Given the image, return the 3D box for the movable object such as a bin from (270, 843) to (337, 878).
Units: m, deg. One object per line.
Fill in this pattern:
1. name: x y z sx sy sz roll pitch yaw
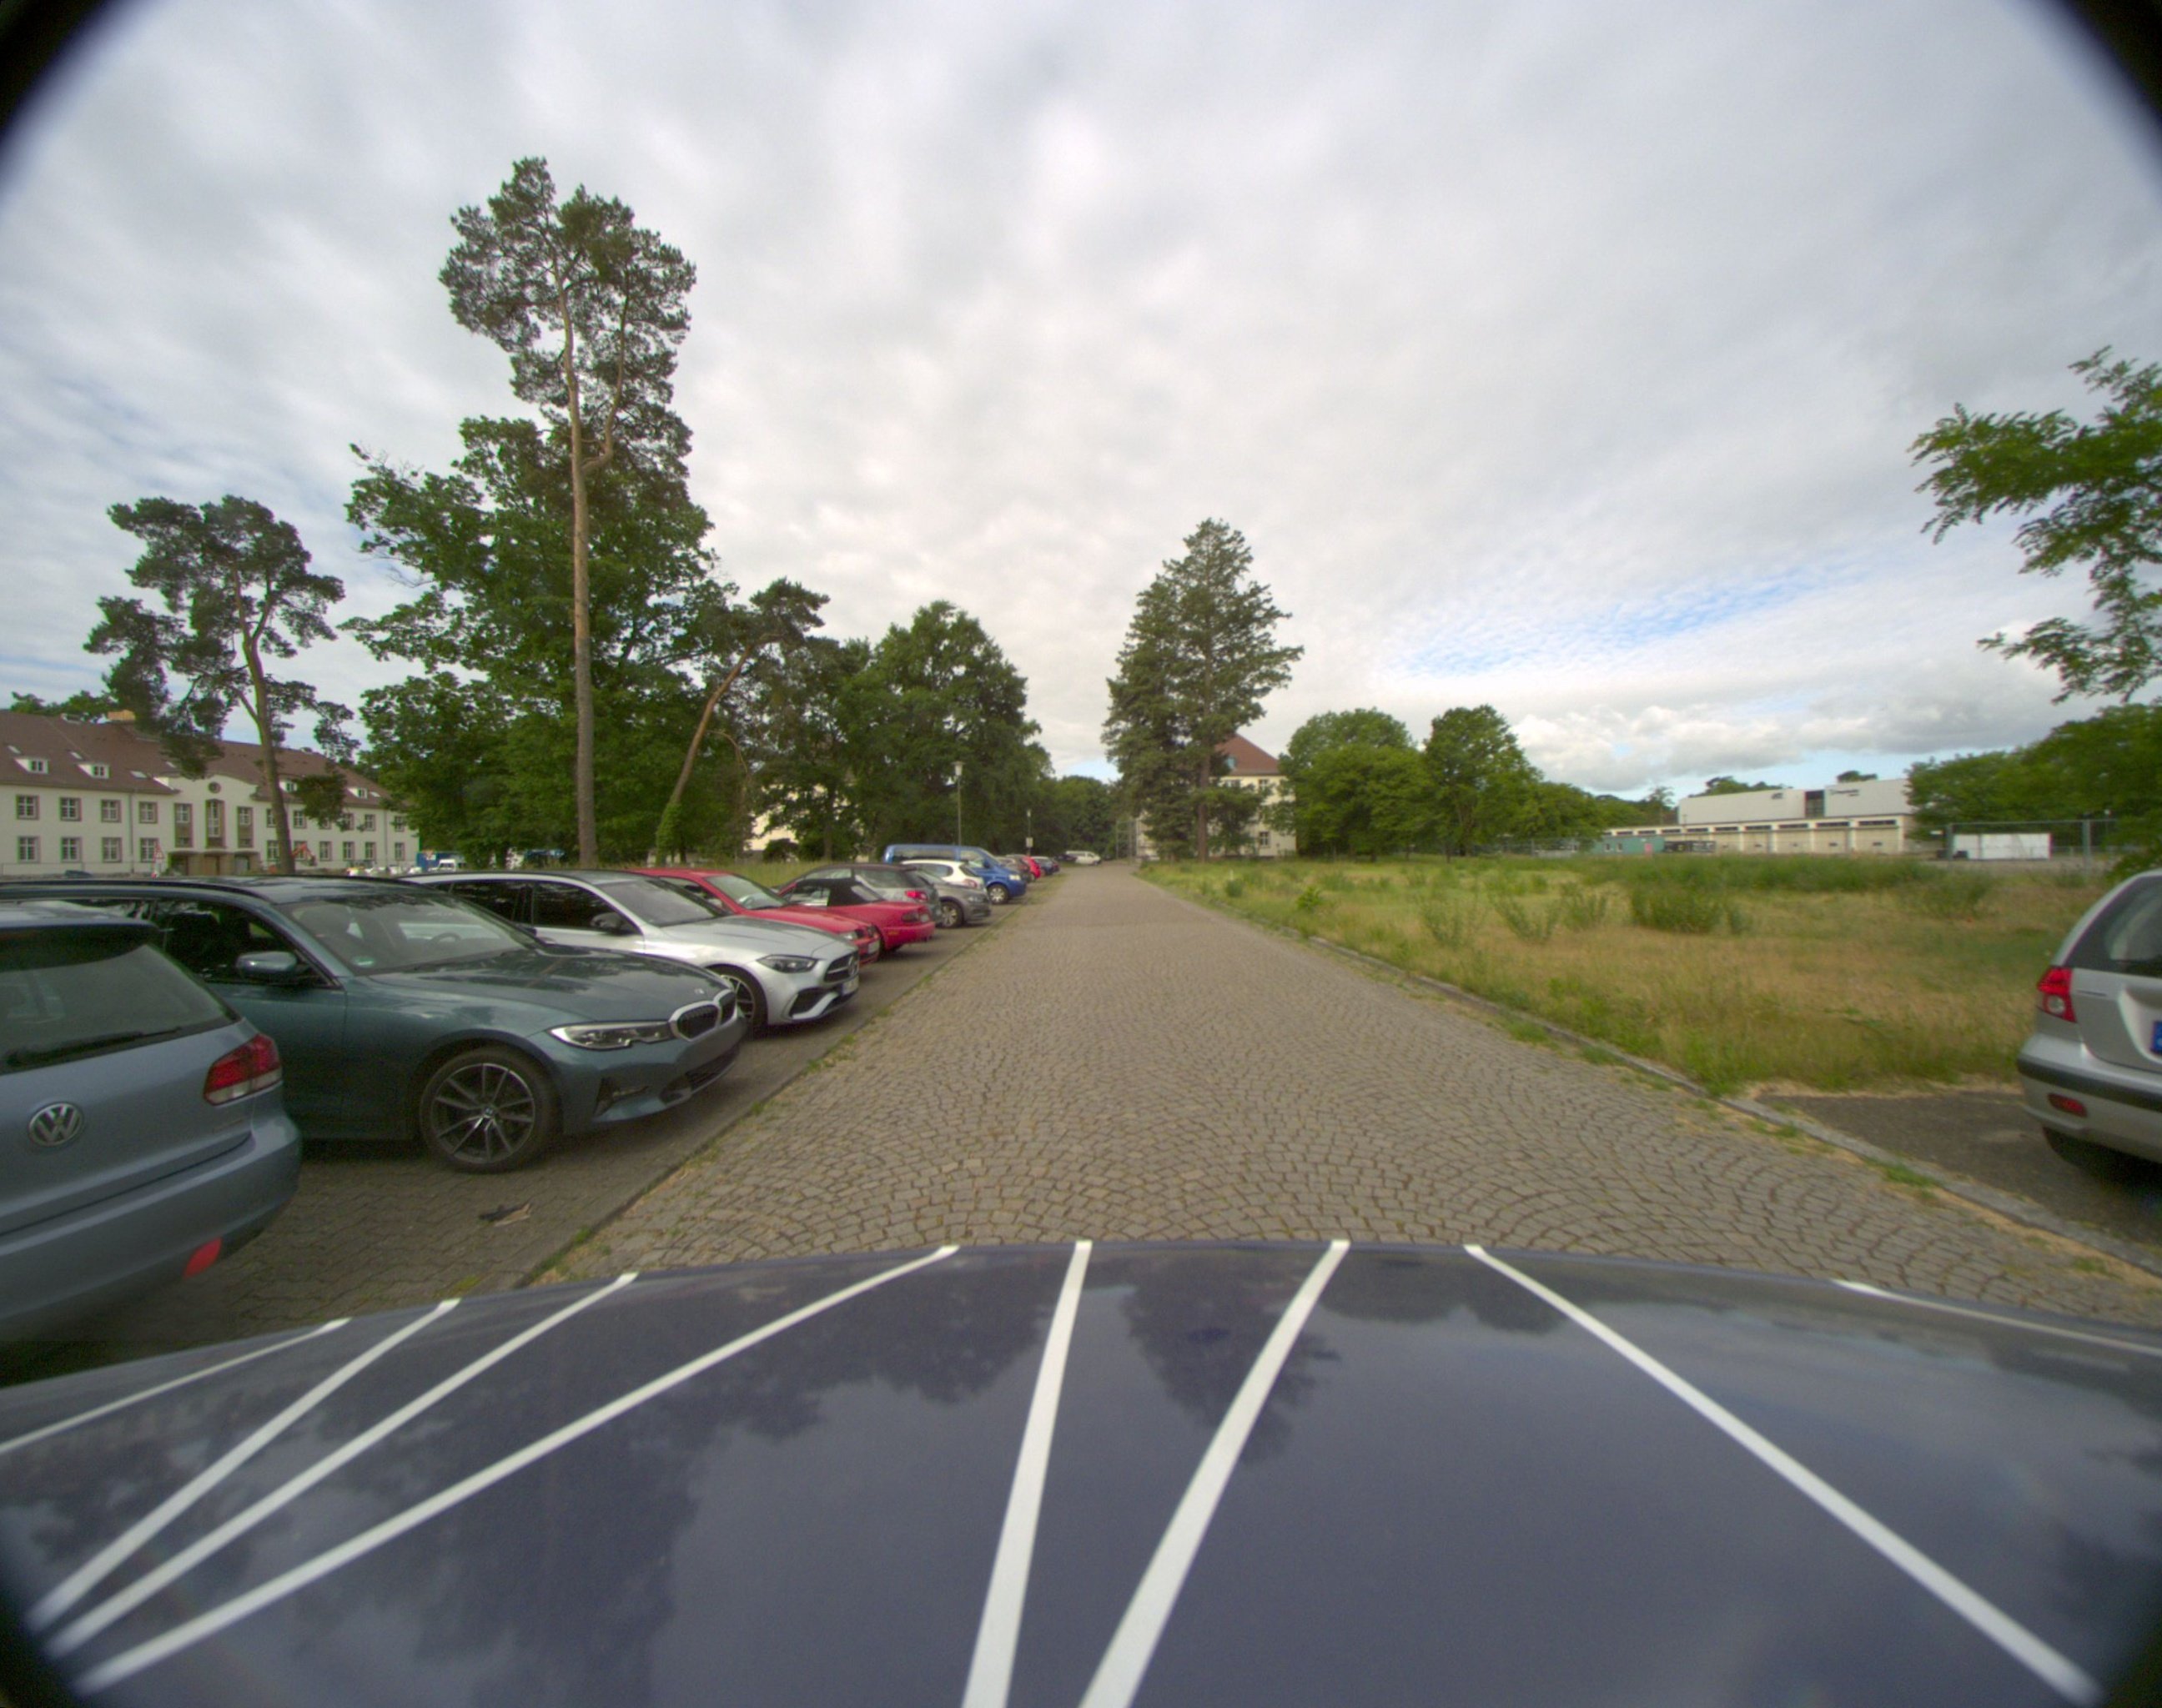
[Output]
1. movable object such as a bin: -87.338 0.726 85.402 5.457 3.748 2.053 -2 1 5

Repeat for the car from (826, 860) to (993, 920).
1. car: -4.487 0.918 20.242 4.049 1.507 1.601 0 0 4

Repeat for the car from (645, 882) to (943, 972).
1. car: -4.321 1.084 11.825 4.050 1.233 1.549 0 0 1

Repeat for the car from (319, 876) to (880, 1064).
1. car: -4.257 0.973 7.158 4.246 1.465 1.717 0 0 3

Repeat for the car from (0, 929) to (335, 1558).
1. car: -4.620 0.952 1.789 4.011 1.420 1.698 2 1 -1

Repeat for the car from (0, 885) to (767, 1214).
1. car: -4.408 0.963 4.415 4.439 1.375 1.664 2 1 -1

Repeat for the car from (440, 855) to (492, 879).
1. car: -67.072 1.406 82.925 1.862 2.351 4.447 -2 1 1

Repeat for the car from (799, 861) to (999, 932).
1. car: -4.051 0.925 17.313 4.096 1.507 1.700 0 0 4

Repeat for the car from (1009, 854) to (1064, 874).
1. car: -3.467 0.779 59.903 4.091 1.524 1.727 0 0 8

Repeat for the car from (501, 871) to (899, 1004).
1. car: -4.621 0.980 9.641 4.183 1.473 1.717 0 0 1

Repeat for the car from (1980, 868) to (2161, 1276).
1. car: 5.969 0.727 2.612 3.960 1.462 1.584 -3 1 -2

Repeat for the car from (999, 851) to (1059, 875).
1. car: -3.745 0.618 55.215 4.081 1.685 1.727 0 0 8

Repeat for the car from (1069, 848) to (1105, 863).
1. car: 0.839 0.153 108.512 5.149 2.137 1.774 0 1 -2

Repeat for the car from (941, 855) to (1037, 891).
1. car: -4.157 0.827 34.555 4.083 1.584 1.654 0 0 4

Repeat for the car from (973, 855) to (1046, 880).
1. car: -4.162 0.787 44.873 4.083 1.436 1.726 0 0 3

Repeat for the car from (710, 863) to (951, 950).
1. car: -4.671 0.950 14.497 4.049 1.507 1.601 0 0 4

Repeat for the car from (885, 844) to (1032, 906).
1. car: -4.041 0.662 25.649 4.601 1.994 1.912 0 1 3
